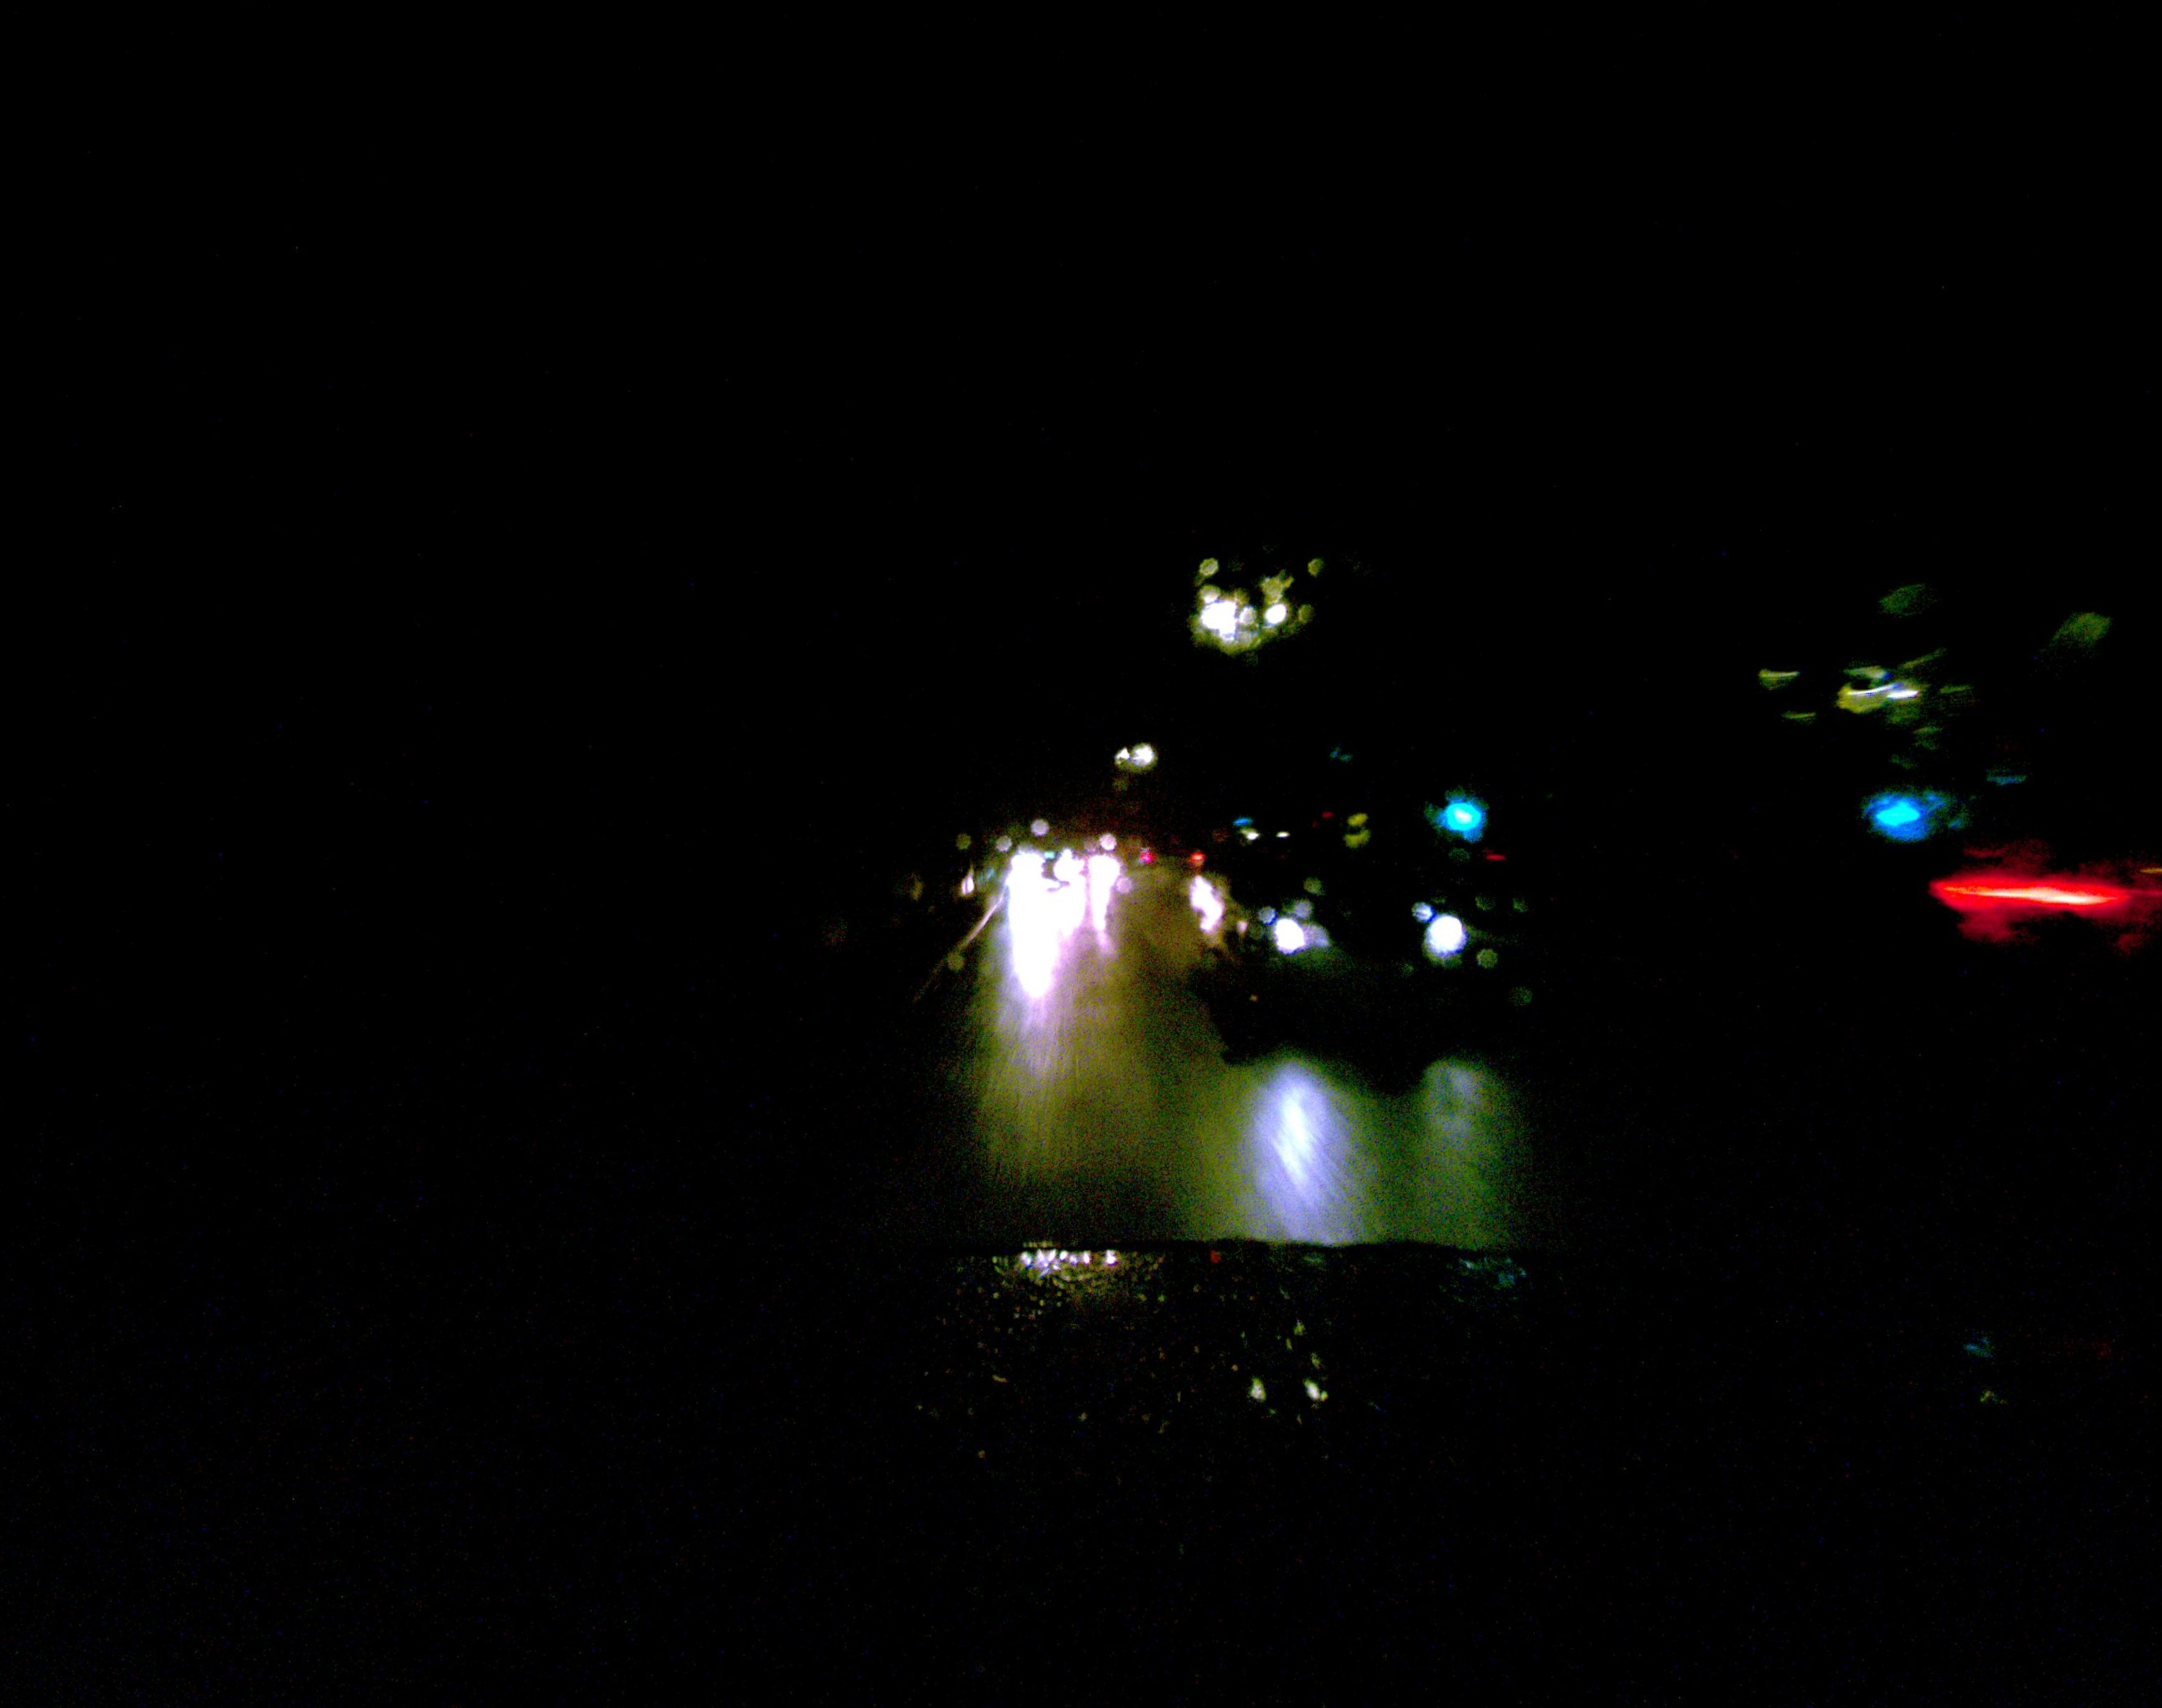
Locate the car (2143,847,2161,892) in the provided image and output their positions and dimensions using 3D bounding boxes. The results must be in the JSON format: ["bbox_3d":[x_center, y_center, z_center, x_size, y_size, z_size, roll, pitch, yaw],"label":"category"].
[{"bbox_3d":[45.227,0.644,29.791,2.003,1.773,4.089,-2,2,-37],"label":"car"}]

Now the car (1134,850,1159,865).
[{"bbox_3d":[7.417,0.377,86.055,1.798,1.562,4.909,-1,1,-8],"label":"car"}]

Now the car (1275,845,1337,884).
[{"bbox_3d":[9.764,0.415,33.219,1.589,1.517,3.650,-1,2,0],"label":"car"}]

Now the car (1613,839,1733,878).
[{"bbox_3d":[31.455,0.218,40.605,4.910,1.929,2.004,0,2,34],"label":"car"}]

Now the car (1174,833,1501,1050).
[{"bbox_3d":[2.333,0.669,8.471,1.914,1.694,4.938,-1,1,-1],"label":"car"}]

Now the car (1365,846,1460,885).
[{"bbox_3d":[12.869,0.403,29.813,1.722,1.346,4.408,-1,1,-1],"label":"car"}]

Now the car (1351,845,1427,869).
[{"bbox_3d":[20.289,0.158,50.136,2.185,1.441,4.124,-2,2,-39],"label":"car"}]

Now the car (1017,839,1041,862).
[{"bbox_3d":[-4.778,-0.299,68.842,2.000,2.002,3.997,-1,0,-6],"label":"car"}]

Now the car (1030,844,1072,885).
[{"bbox_3d":[-1.424,0.437,36.386,1.878,1.825,4.204,-1,1,-2],"label":"car"}]

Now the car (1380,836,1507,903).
[{"bbox_3d":[10.167,0.353,21.680,1.722,1.693,4.142,-1,1,1],"label":"car"}]

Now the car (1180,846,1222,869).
[{"bbox_3d":[8.350,0.211,53.344,1.704,1.562,4.708,-1,1,-6],"label":"car"}]

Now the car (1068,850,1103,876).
[{"bbox_3d":[0.230,0.562,48.431,1.999,1.456,3.998,-1,2,-3],"label":"car"}]

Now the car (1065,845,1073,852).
[{"bbox_3d":[-2.540,-1.271,166.110,1.658,1.490,4.374,2,0,-1],"label":"car"}]

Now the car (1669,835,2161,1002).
[{"bbox_3d":[9.888,0.545,9.389,1.712,1.525,4.599,-1,2,1],"label":"car"}]

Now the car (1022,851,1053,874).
[{"bbox_3d":[-3.102,0.578,53.452,1.999,1.456,3.997,-1,2,-6],"label":"car"}]
